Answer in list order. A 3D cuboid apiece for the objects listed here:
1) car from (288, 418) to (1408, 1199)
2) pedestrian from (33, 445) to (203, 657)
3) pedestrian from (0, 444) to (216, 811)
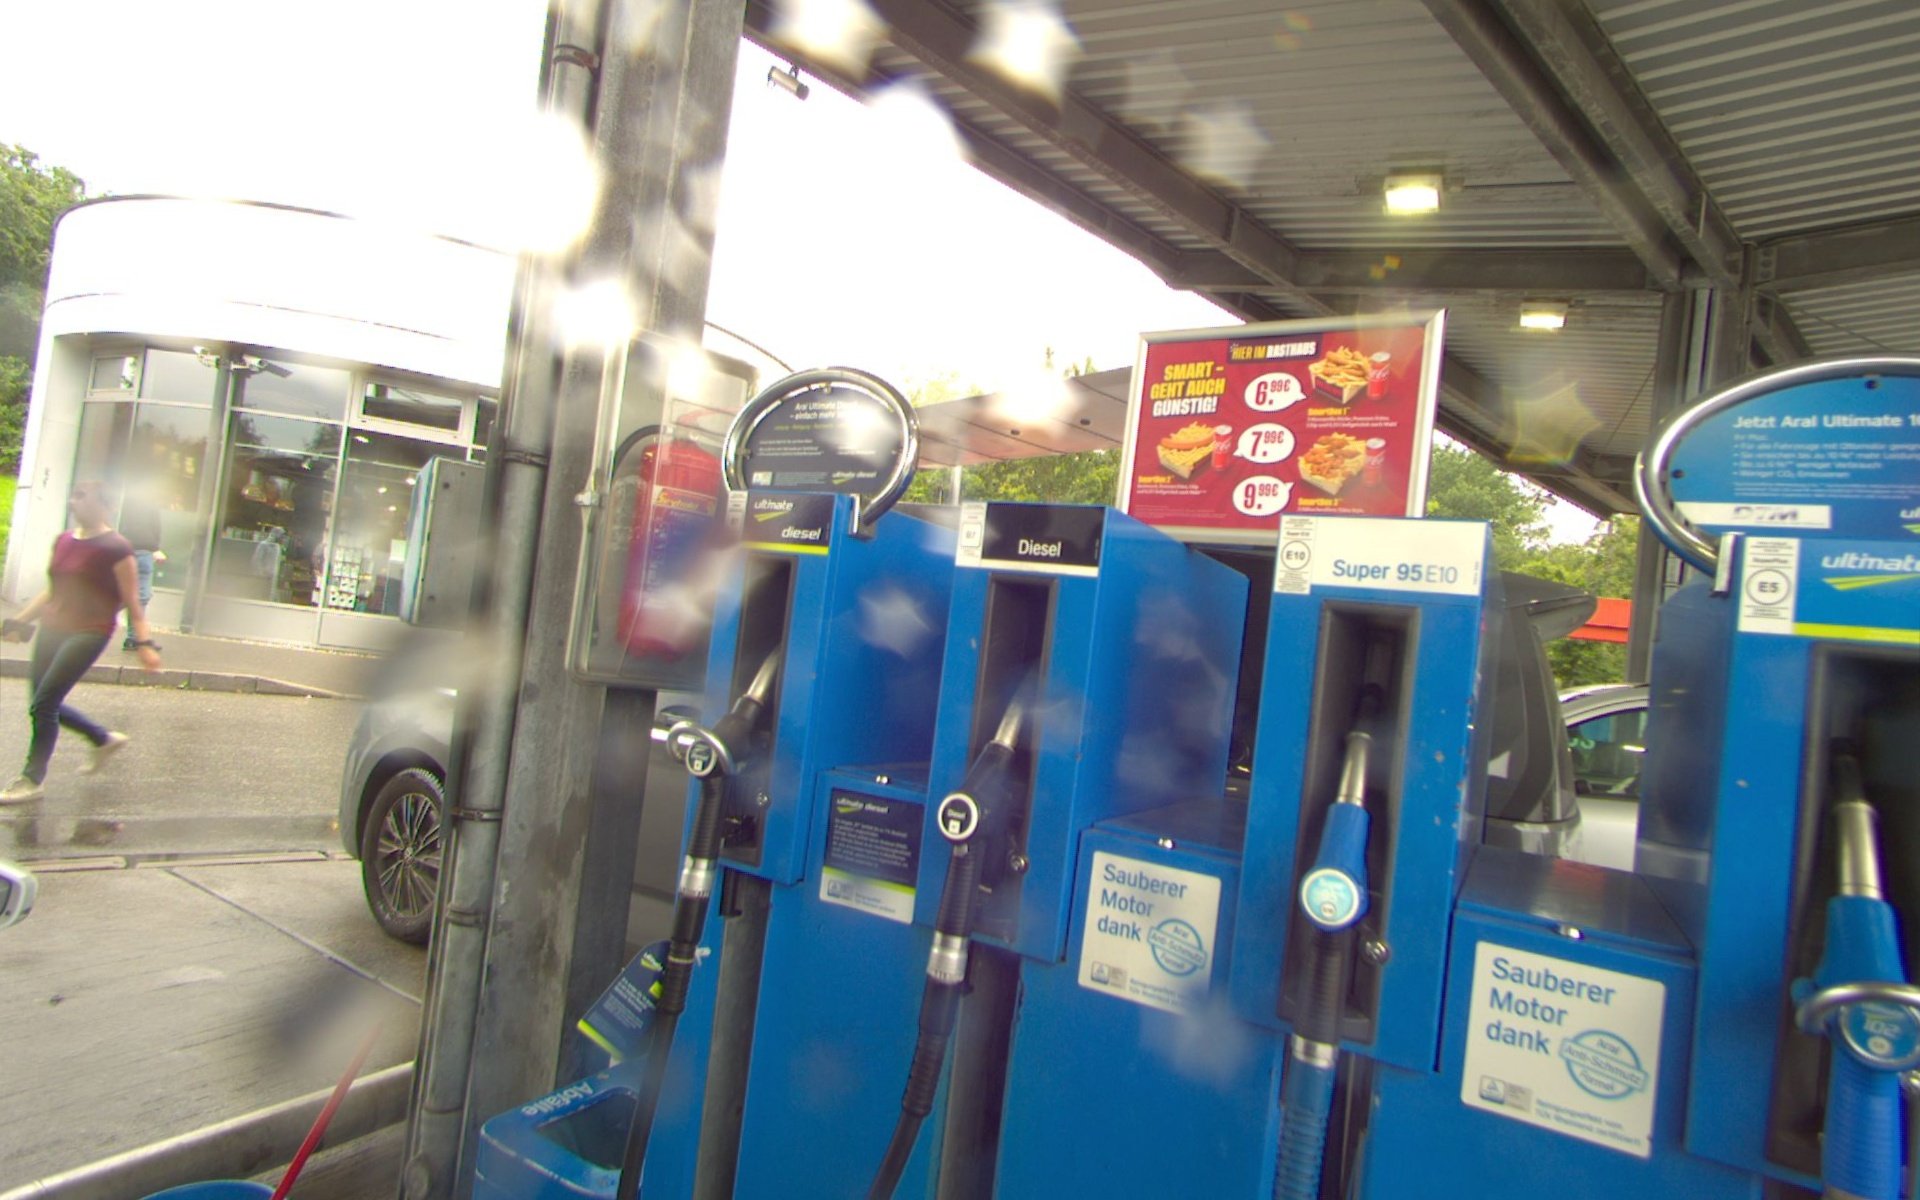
[{"bbox_3d":[-0.588,0.497,3.984,3.934,1.971,1.819,7,-1,32],"label":"car"},{"bbox_3d":[-8.231,-0.456,9.891,0.990,1.887,0.793,7,0,-30],"label":"pedestrian"},{"bbox_3d":[-4.654,0.143,5.346,0.786,1.755,0.835,7,0,-23],"label":"pedestrian"}]
